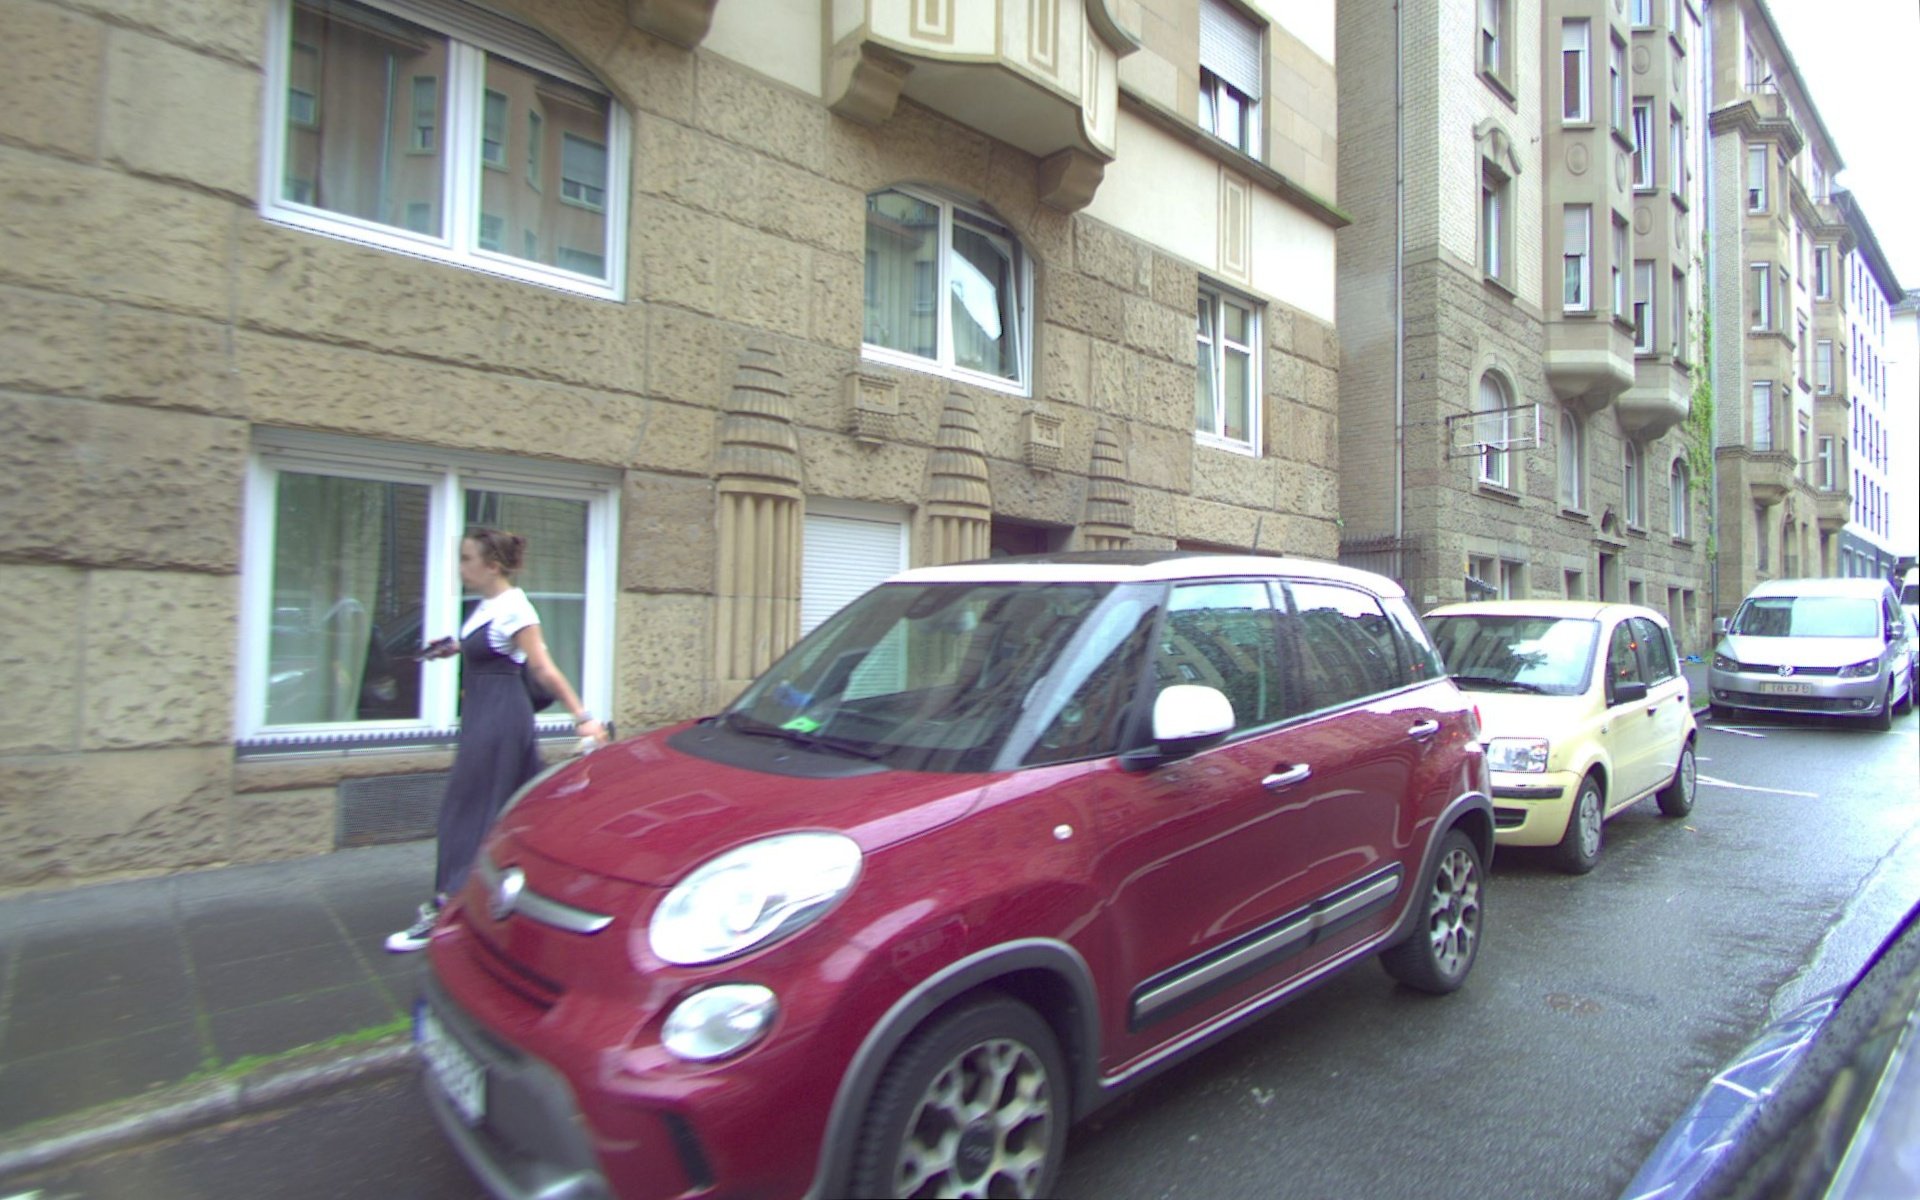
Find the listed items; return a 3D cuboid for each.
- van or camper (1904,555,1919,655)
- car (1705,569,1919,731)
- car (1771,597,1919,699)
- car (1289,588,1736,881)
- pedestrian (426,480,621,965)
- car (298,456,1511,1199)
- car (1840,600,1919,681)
[{"bbox_3d":[26.767,0.104,26.716,6.012,2.500,2.068,-1,0,-41],"label":"van or camper"},{"bbox_3d":[11.455,0.556,13.314,4.284,1.799,1.777,0,0,-41],"label":"car"},{"bbox_3d":[14.939,0.690,16.568,3.931,1.459,1.996,-1,1,-42],"label":"car"},{"bbox_3d":[3.872,0.702,6.893,3.400,1.497,1.561,0,-1,-41],"label":"car"},{"bbox_3d":[-1.830,0.443,4.199,0.597,1.755,0.865,0,-1,-34],"label":"pedestrian"},{"bbox_3d":[0.239,0.632,3.427,3.933,1.649,1.712,0,-1,-43],"label":"car"},{"bbox_3d":[18.272,0.713,19.351,3.931,1.429,1.678,0,-2,-42],"label":"car"}]
